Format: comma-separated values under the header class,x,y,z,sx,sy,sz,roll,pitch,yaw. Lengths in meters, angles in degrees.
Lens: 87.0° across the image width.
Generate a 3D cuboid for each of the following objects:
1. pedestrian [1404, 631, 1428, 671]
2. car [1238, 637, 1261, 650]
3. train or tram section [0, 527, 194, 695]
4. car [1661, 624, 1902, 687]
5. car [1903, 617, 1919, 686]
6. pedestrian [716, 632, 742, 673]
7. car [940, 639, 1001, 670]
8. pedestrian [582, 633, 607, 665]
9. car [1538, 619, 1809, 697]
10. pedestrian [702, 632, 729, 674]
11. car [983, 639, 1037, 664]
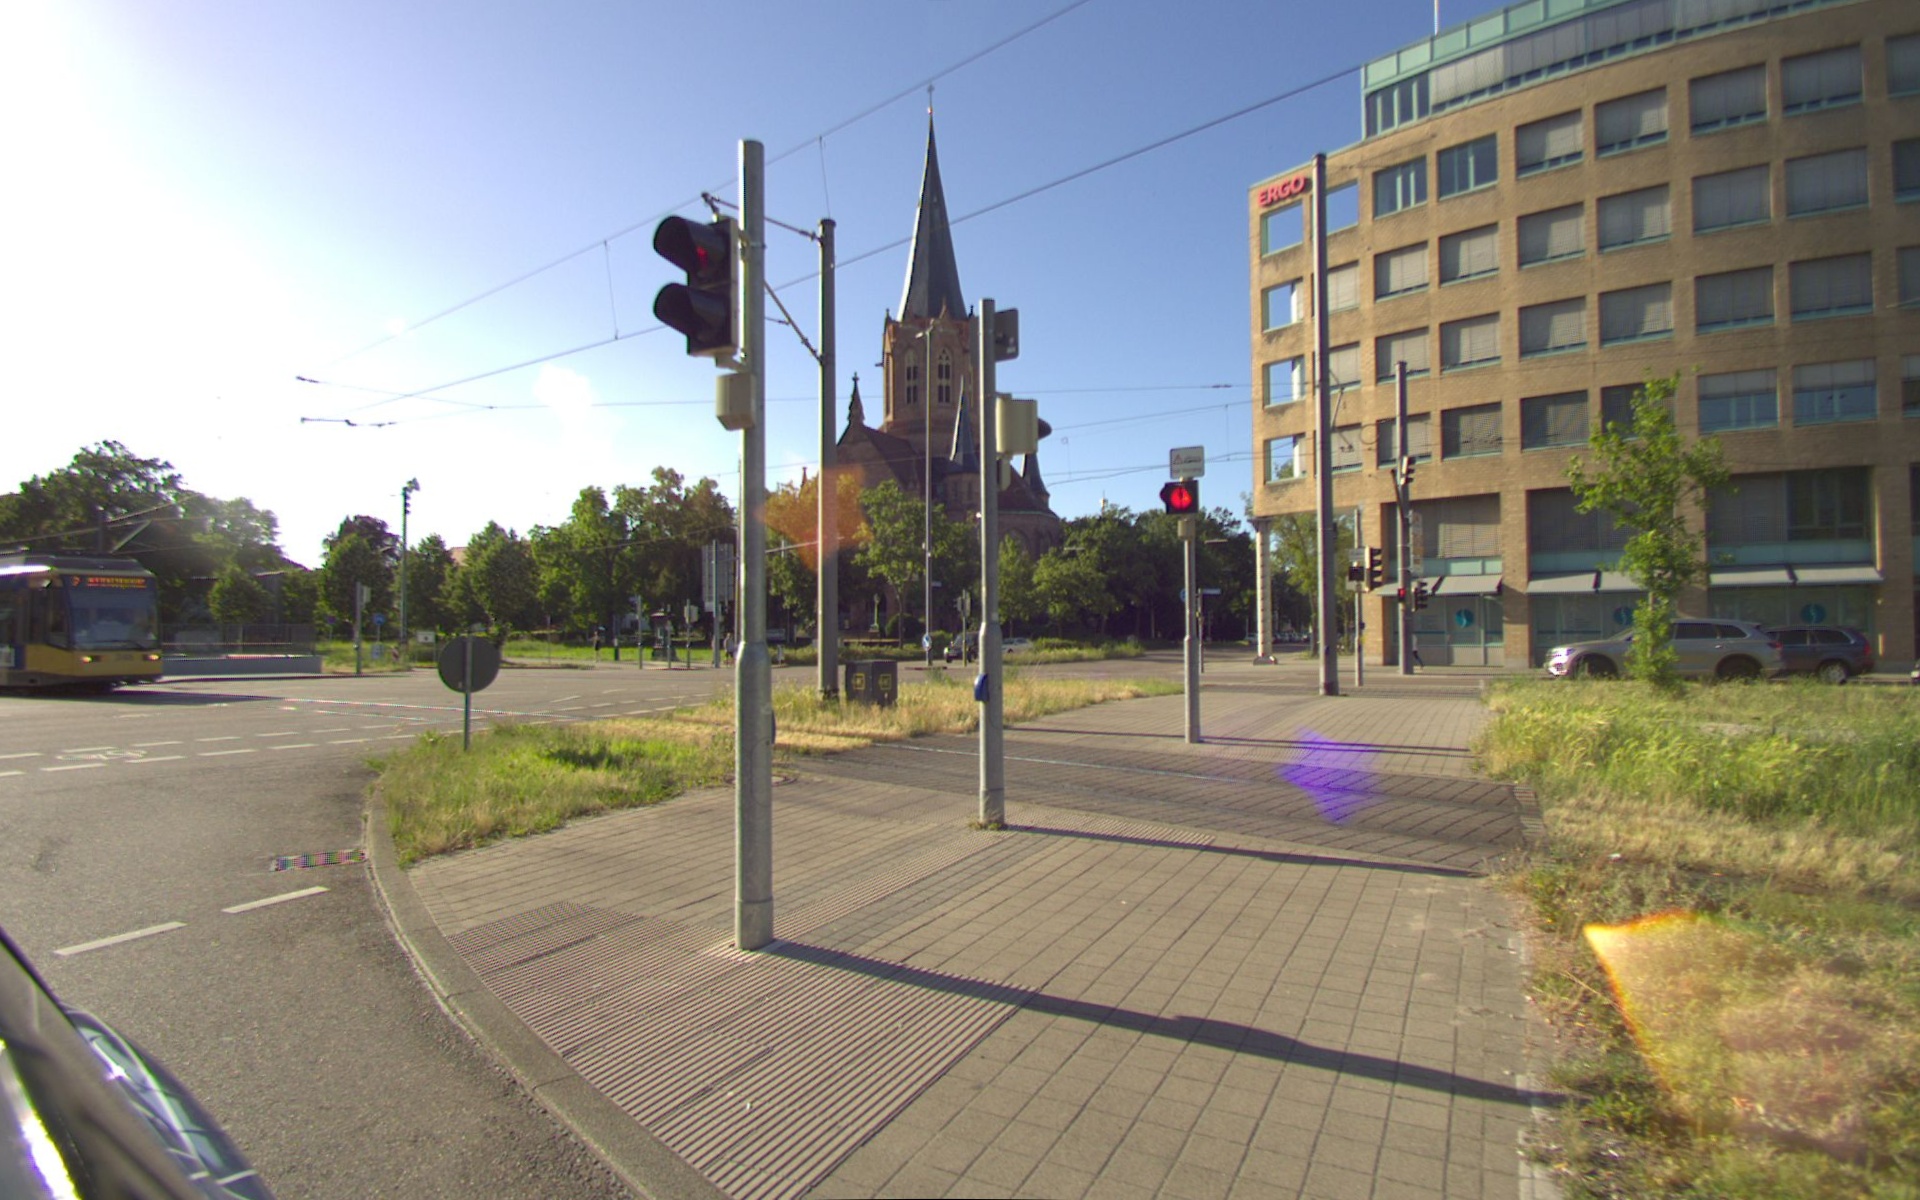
class,x,y,z,sx,sy,sz,roll,pitch,yaw
pedestrian,17.833,1.990,39.595,0.711,1.544,0.592,-1,0,36
car,38.576,5.808,134.729,1.833,1.586,3.897,-1,0,34
train or tram section,-25.362,0.476,26.618,13.116,3.713,2.932,-2,-2,27
car,24.190,1.595,30.118,5.185,1.681,2.105,-1,0,27
car,23.427,1.120,21.427,4.637,1.528,1.982,-1,0,26
pedestrian,-11.783,2.677,51.690,0.921,2.029,0.871,-1,0,28
car,0.629,3.066,57.557,1.830,1.586,3.904,-1,0,29
pedestrian,-21.839,2.914,60.499,1.109,1.860,0.838,-1,0,25
car,17.192,1.399,24.777,5.058,1.747,2.088,-2,-2,26
pedestrian,-12.260,2.642,50.713,0.921,2.029,0.871,-1,0,28
car,3.723,3.757,74.543,1.764,1.586,4.659,-1,0,34
